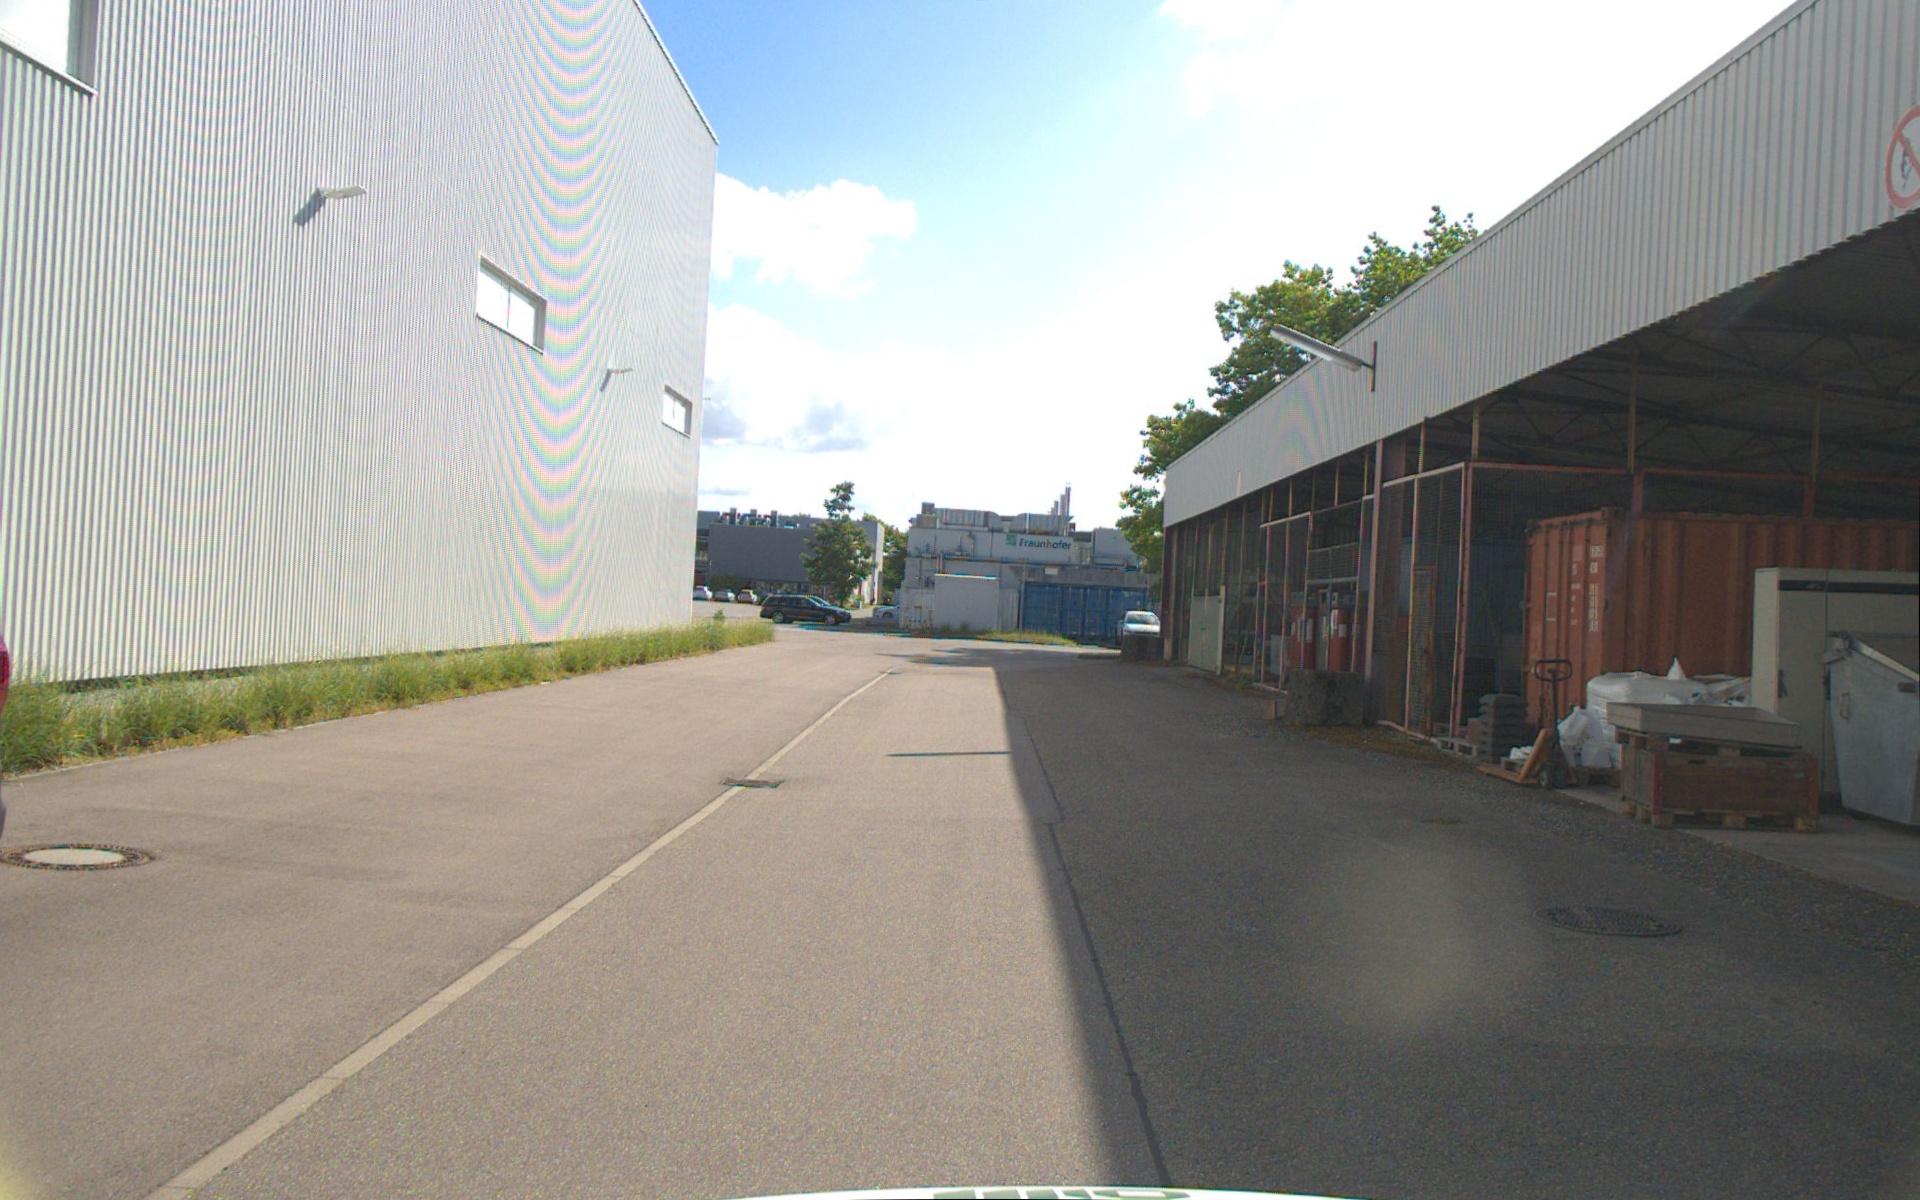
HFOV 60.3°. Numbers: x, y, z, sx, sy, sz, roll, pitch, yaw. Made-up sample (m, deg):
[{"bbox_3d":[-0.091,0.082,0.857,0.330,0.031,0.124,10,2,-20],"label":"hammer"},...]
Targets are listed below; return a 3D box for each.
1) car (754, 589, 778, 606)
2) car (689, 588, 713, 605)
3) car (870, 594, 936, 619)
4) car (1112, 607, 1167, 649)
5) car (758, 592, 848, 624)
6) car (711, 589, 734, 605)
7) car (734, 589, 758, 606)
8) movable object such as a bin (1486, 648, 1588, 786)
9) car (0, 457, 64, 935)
[{"bbox_3d":[-21.307,-0.279,182.183,2.148,1.766,3.999,1,-1,0],"label":"car"},{"bbox_3d":[-28.778,-0.353,183.913,1.953,1.766,3.999,1,-1,0],"label":"car"},{"bbox_3d":[-3.930,0.429,114.326,4.433,1.534,1.909,3,0,1],"label":"car"},{"bbox_3d":[7.982,1.239,73.946,1.953,1.613,4.173,3,1,0],"label":"car"},{"bbox_3d":[-8.209,0.414,86.734,4.432,1.534,1.909,2,0,2],"label":"car"},{"bbox_3d":[-26.335,-0.307,183.558,1.953,1.766,3.999,1,-1,0],"label":"car"},{"bbox_3d":[-23.799,-0.283,183.897,2.148,1.766,3.999,1,-1,0],"label":"car"},{"bbox_3d":[5.369,1.064,15.439,0.569,1.185,1.238,2,0,4],"label":"movable object such as a bin"},{"bbox_3d":[-4.651,0.307,4.547,1.852,1.877,4.358,5,0,0],"label":"car"}]
